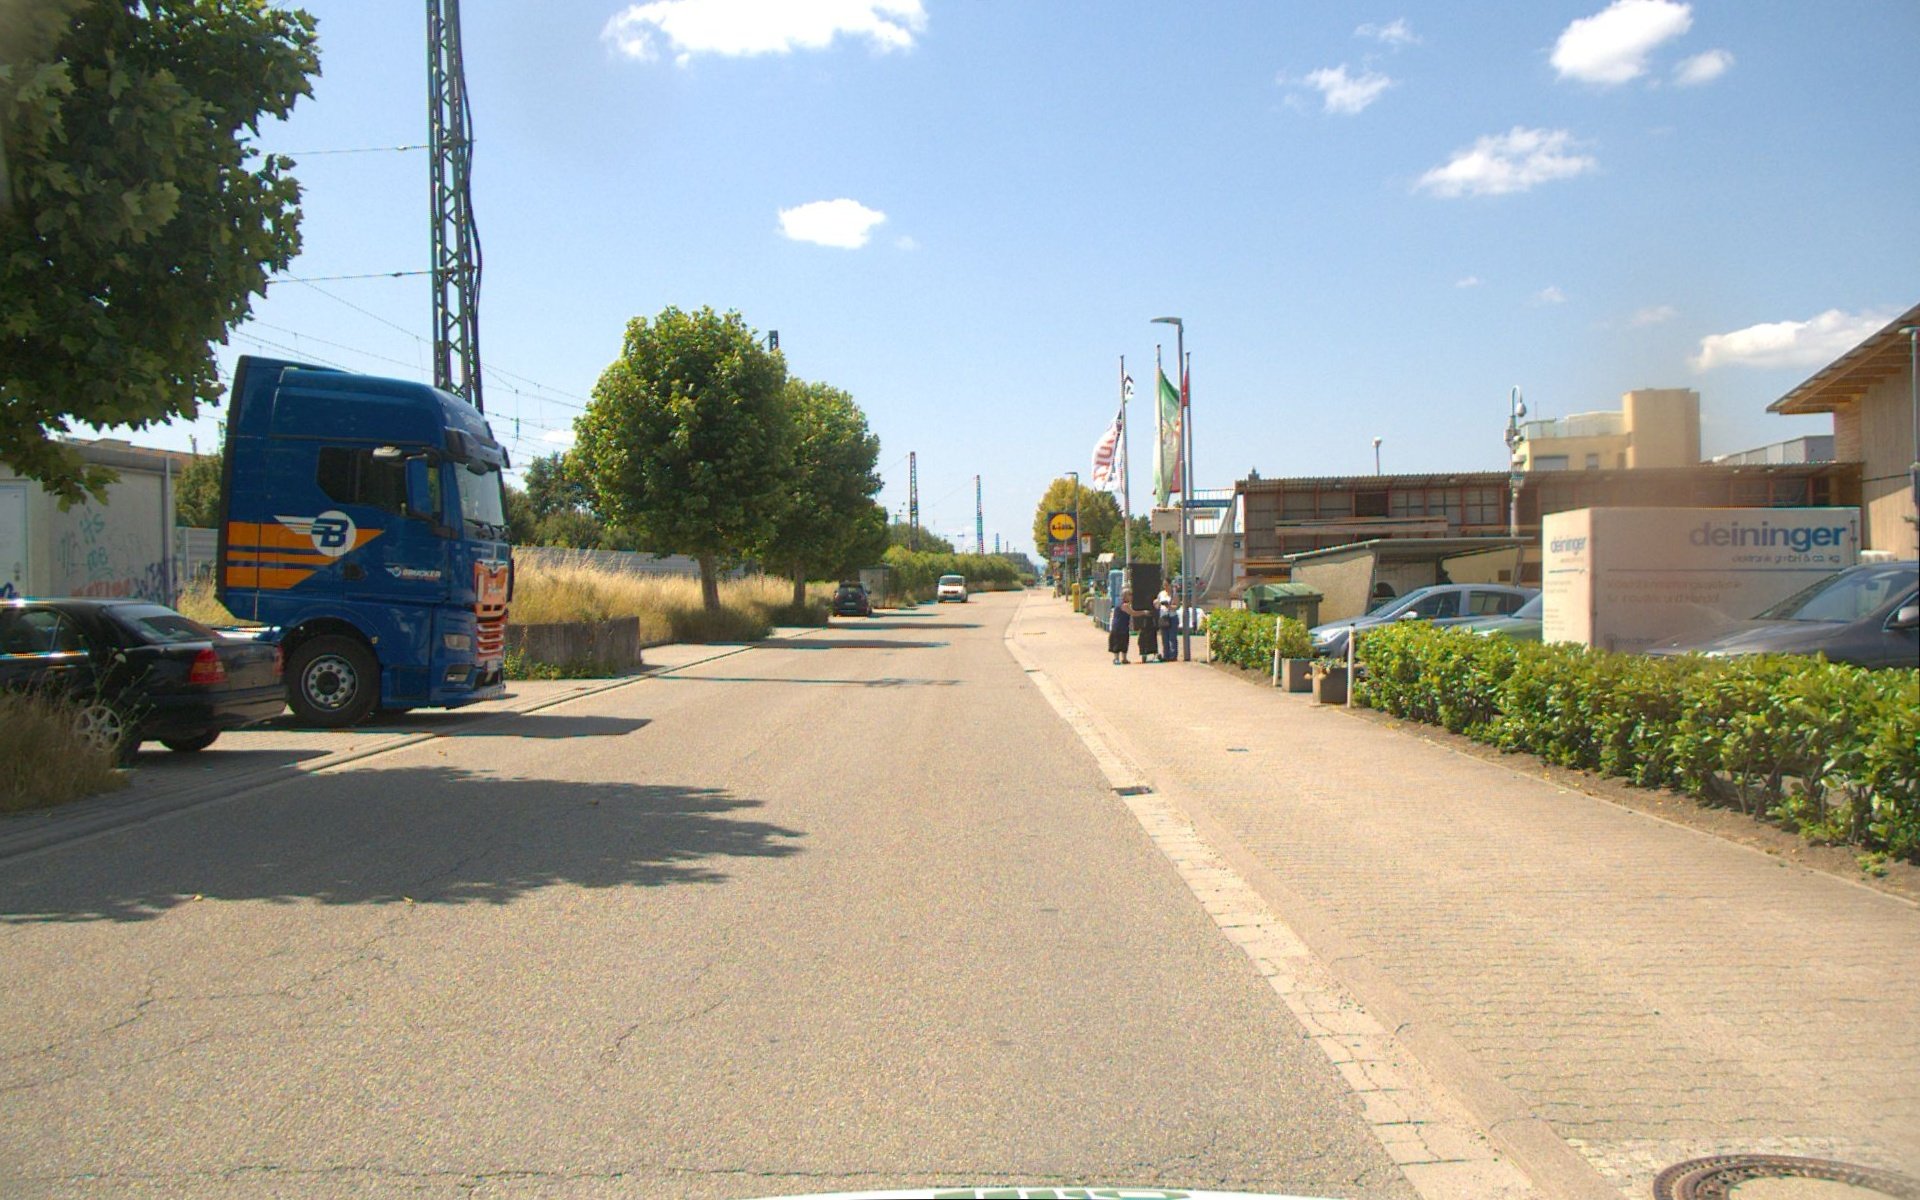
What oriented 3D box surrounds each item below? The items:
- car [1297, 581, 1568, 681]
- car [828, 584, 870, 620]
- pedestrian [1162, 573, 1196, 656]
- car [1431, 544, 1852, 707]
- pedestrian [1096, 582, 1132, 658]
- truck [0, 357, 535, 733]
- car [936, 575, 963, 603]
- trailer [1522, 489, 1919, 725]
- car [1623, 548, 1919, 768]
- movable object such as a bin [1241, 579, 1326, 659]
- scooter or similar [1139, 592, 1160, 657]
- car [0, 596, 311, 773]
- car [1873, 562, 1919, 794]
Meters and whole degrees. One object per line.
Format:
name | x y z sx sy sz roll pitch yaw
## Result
car | 7.373 0.465 26.089 3.766 1.481 1.818 -1 1 1
car | -5.189 0.082 77.621 1.706 1.624 3.580 -1 1 0
pedestrian | 4.209 0.284 31.797 0.524 1.567 0.510 -2 -2 0
car | 7.858 0.298 19.347 4.127 1.662 1.800 -2 -1 -1
pedestrian | 2.966 0.381 31.920 0.582 1.430 0.584 -2 -1 0
truck | -8.421 -0.587 18.717 6.480 3.890 2.663 -1 0 -2
car | -0.722 -0.805 115.868 1.800 1.890 4.485 -1 1 1
trailer | 7.814 0.071 16.165 3.905 2.049 2.000 -2 -1 1
car | 7.732 0.410 13.443 3.955 1.602 1.712 -2 -1 -5
movable object such as a bin | 6.164 0.337 31.539 1.254 1.483 1.035 0 1 -37
scooter or similar | 3.645 0.475 31.854 0.327 1.219 0.398 -2 -2 1
car | -8.157 0.709 14.559 4.123 1.419 1.871 -1 0 -2
car | 8.272 0.471 10.148 4.385 1.465 1.814 -1 1 -3
